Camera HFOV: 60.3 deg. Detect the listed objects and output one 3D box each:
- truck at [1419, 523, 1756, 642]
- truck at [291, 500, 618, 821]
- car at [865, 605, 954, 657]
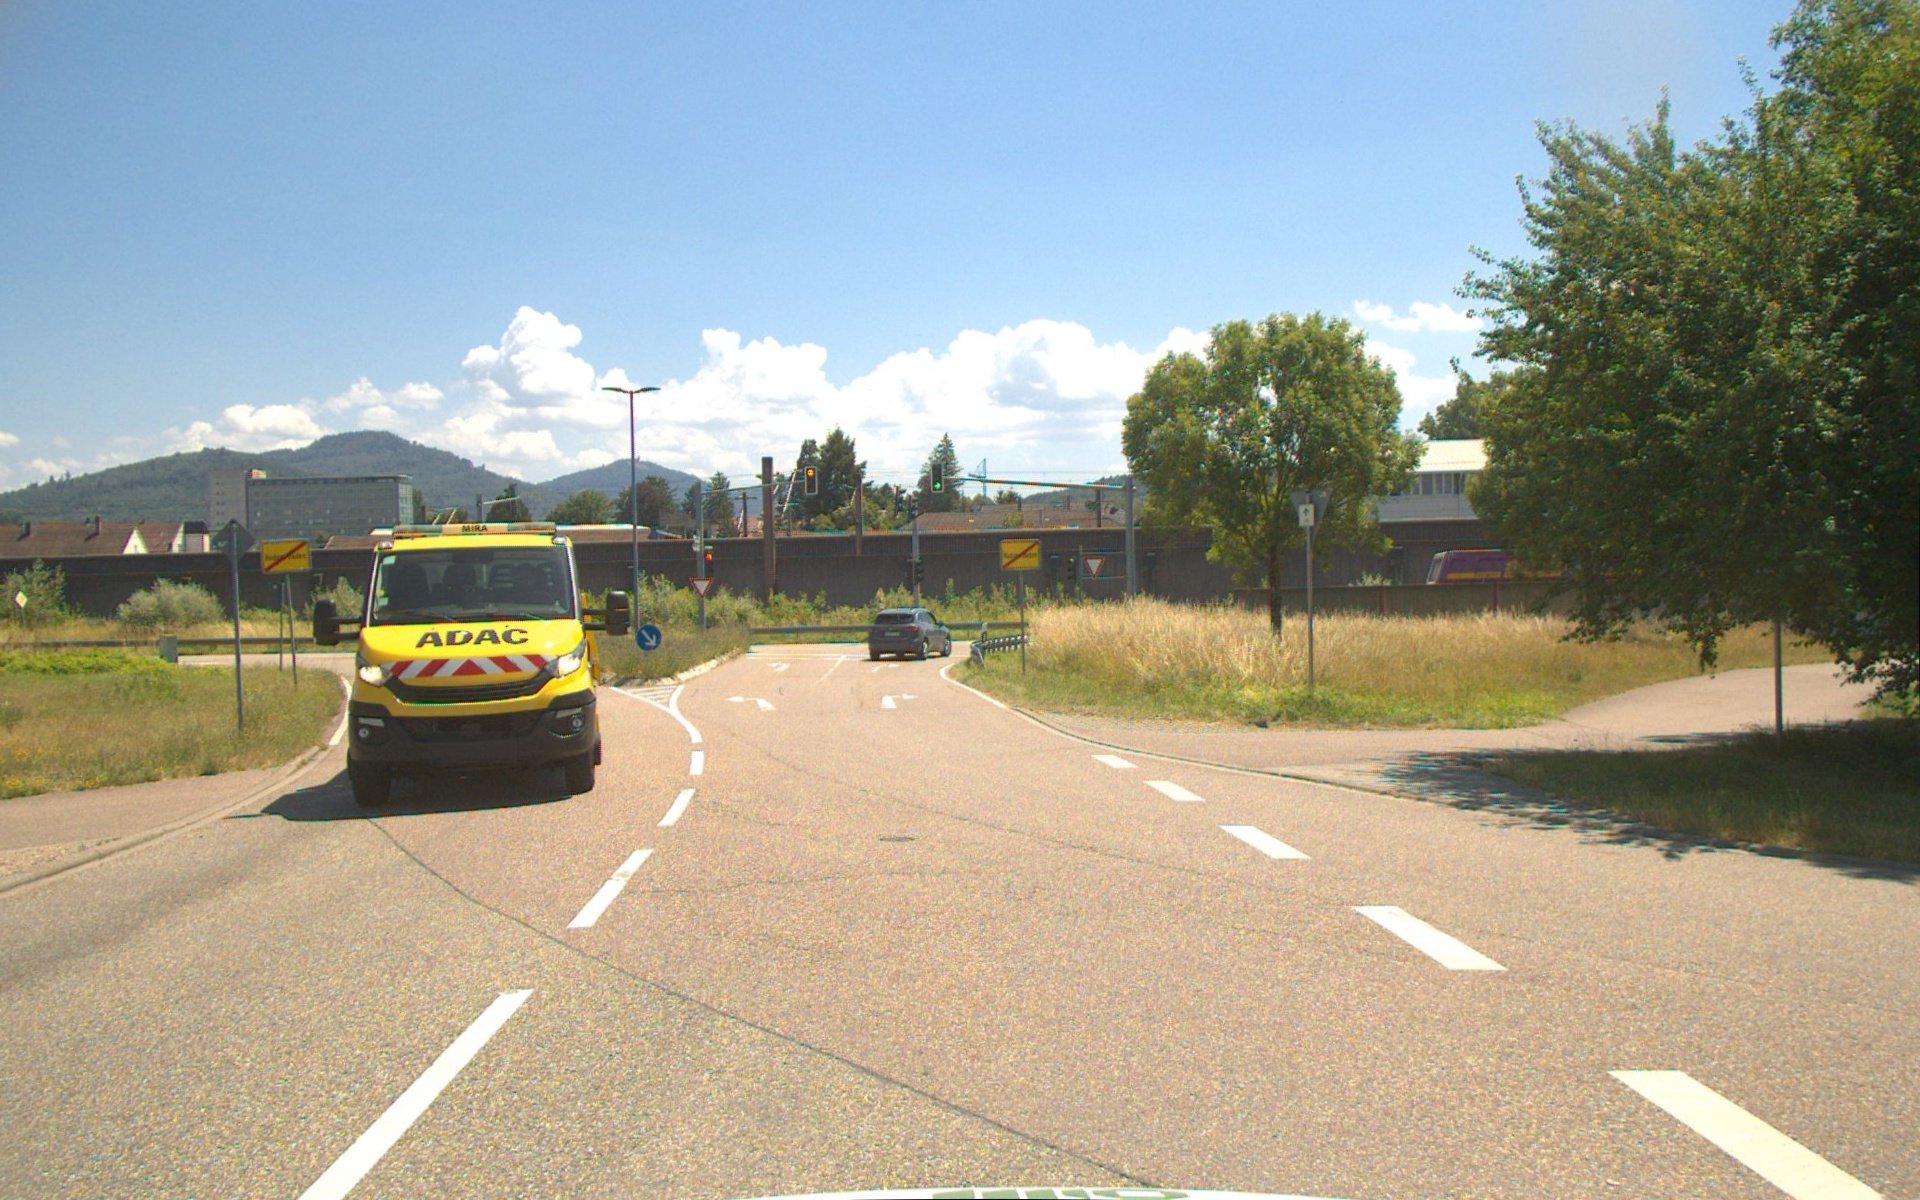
[{"bbox_3d":[23.572,-0.625,62.615,11.521,4.253,3.007,-1,-1,4],"label":"truck"},{"bbox_3d":[-4.862,0.517,17.422,2.270,2.378,9.025,-3,0,-11],"label":"truck"},{"bbox_3d":[-1.554,0.961,52.637,1.951,1.529,4.004,0,1,11],"label":"car"}]
